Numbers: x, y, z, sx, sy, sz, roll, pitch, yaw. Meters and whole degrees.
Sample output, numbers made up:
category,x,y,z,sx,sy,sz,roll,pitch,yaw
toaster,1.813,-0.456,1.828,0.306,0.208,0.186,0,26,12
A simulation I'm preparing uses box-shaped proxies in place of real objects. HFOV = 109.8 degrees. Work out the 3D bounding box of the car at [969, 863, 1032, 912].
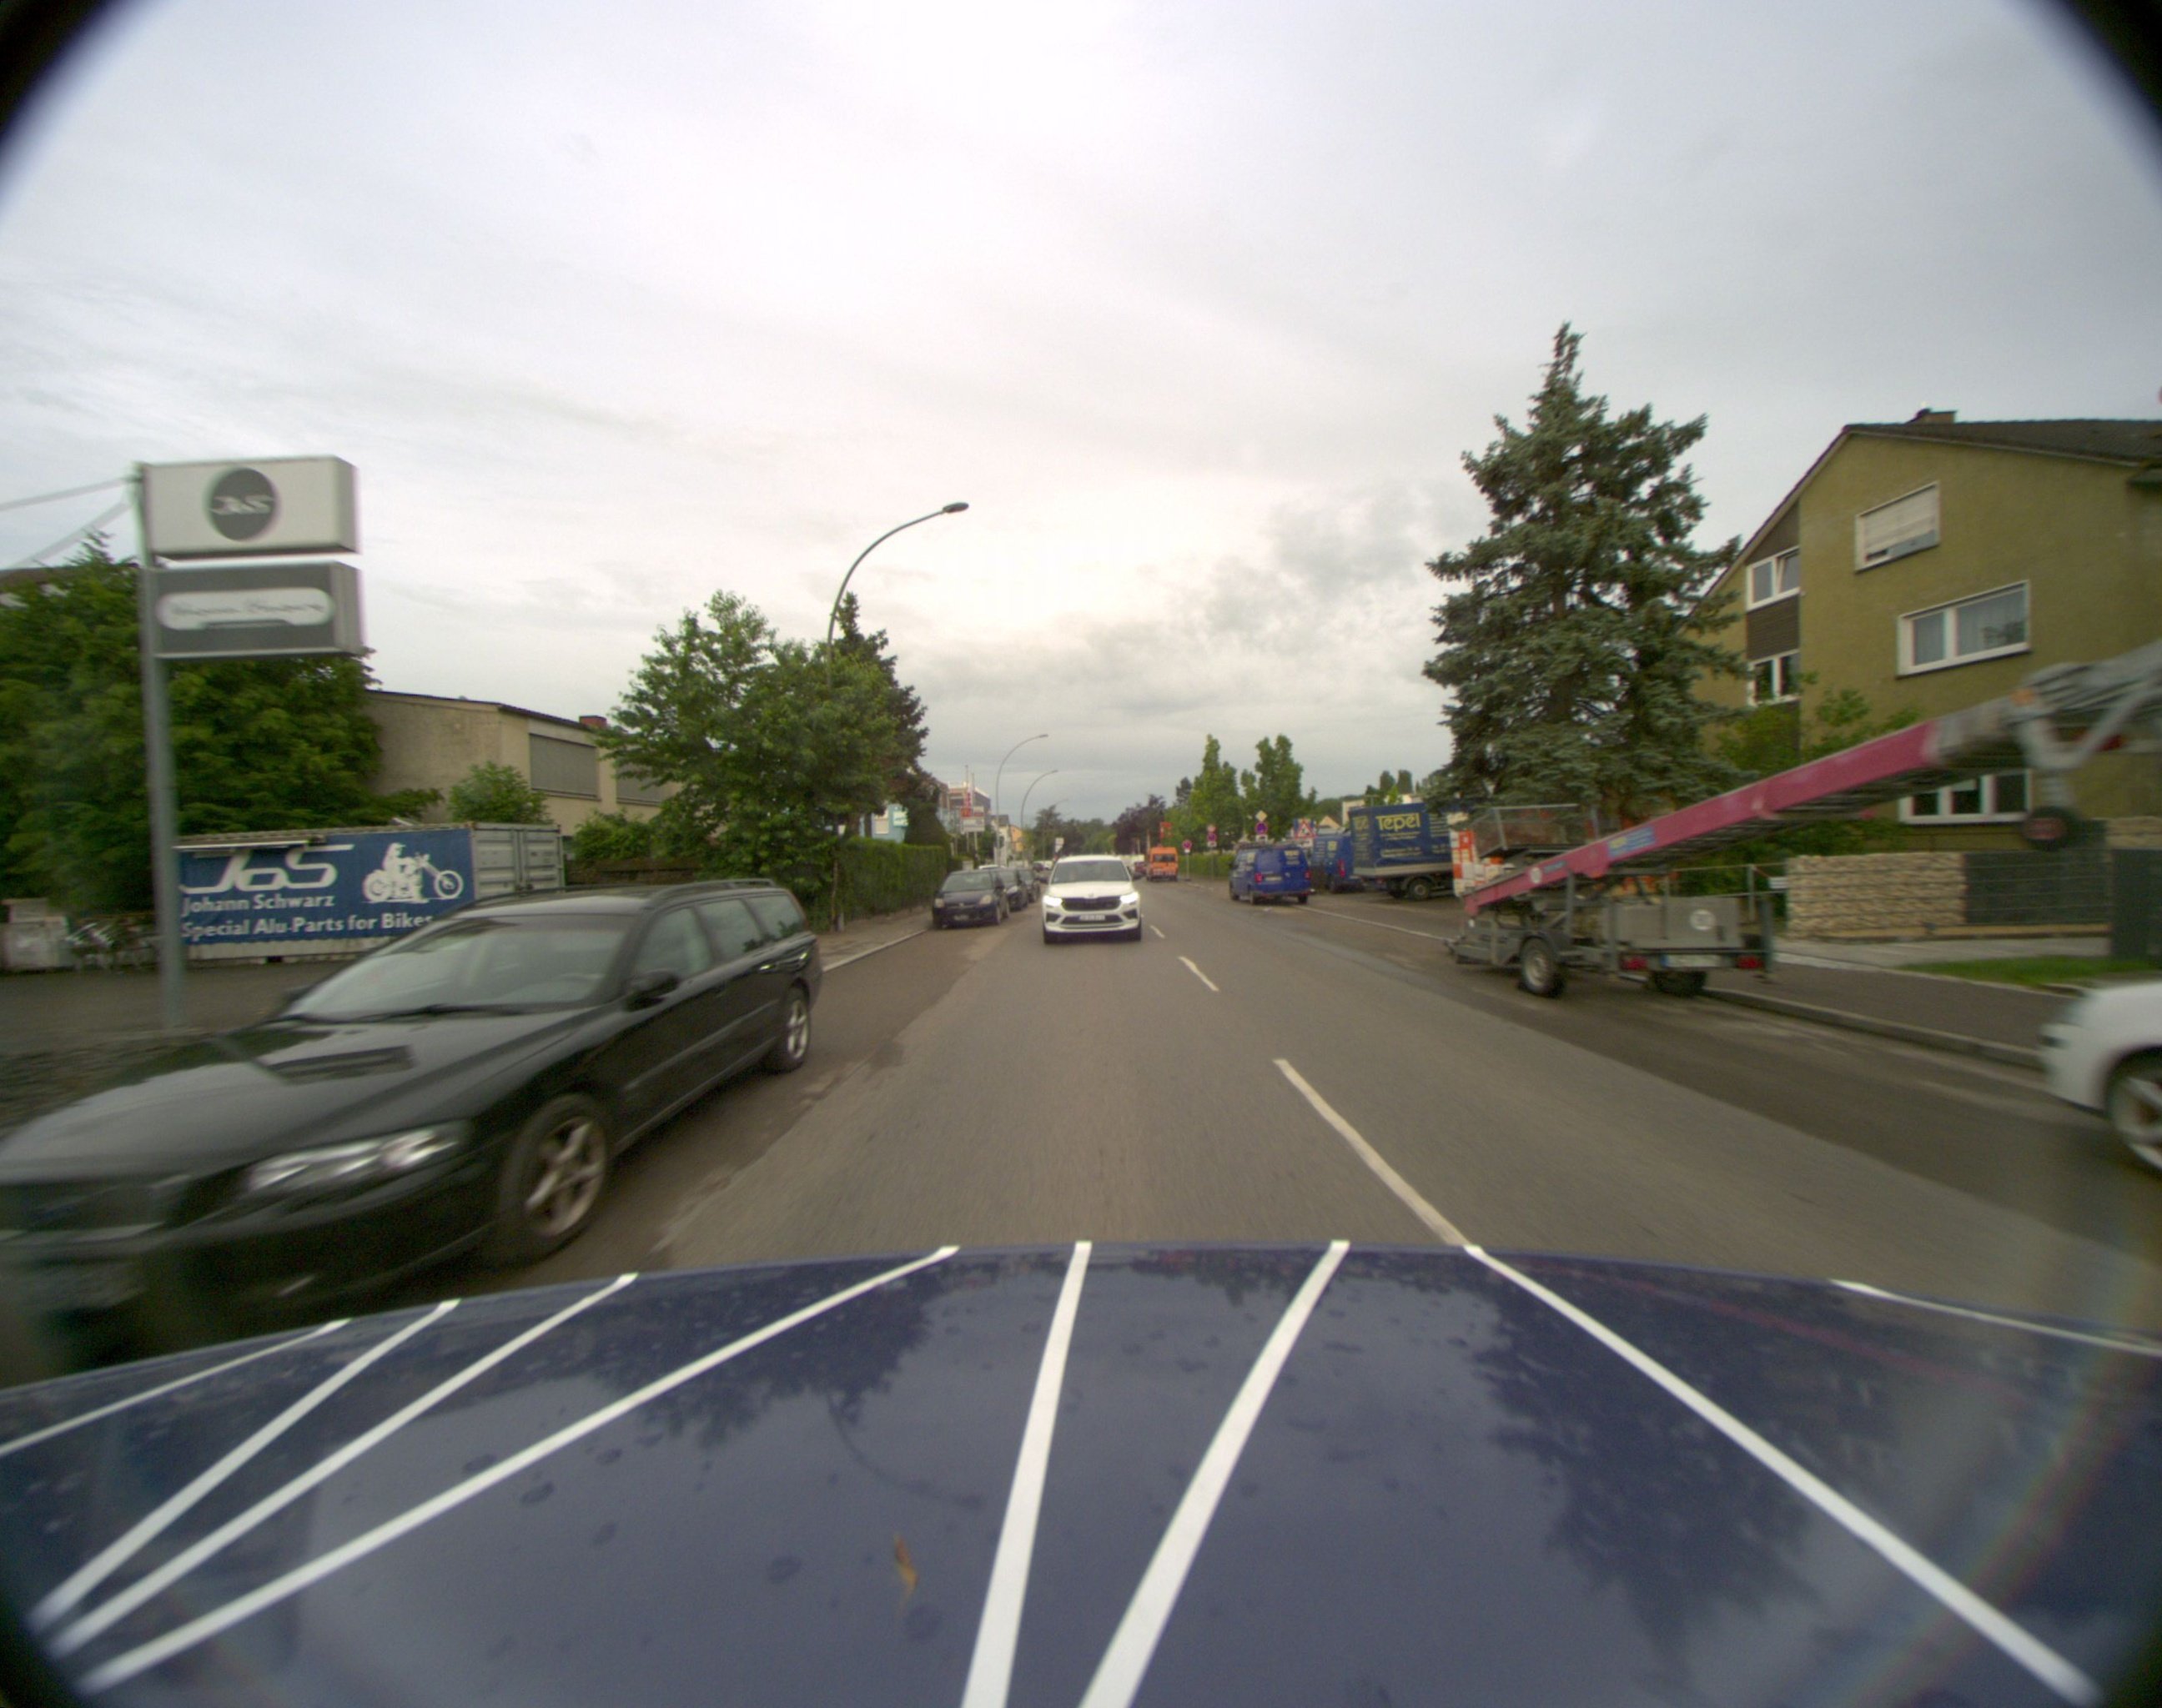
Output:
category,x,y,z,sx,sy,sz,roll,pitch,yaw
car,-2.700,1.100,26.147,1.677,1.455,3.551,-4,0,1

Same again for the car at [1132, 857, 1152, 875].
category,x,y,z,sx,sy,sz,roll,pitch,yaw
car,6.299,1.241,78.396,1.811,1.761,4.000,-1,0,2

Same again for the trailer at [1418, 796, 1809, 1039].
category,x,y,z,sx,sy,sz,roll,pitch,yaw
trailer,5.673,0.557,8.823,1.721,2.114,4.006,-2,1,1

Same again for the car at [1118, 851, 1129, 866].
category,x,y,z,sx,sy,sz,roll,pitch,yaw
car,6.979,0.725,124.805,1.659,2.221,3.744,-2,1,1

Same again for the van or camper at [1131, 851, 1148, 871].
category,x,y,z,sx,sy,sz,roll,pitch,yaw
van or camper,6.858,0.821,89.707,1.811,2.328,4.000,-1,0,2

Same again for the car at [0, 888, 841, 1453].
category,x,y,z,sx,sy,sz,roll,pitch,yaw
car,-3.010,1.036,4.460,1.766,1.431,4.483,-1,0,0

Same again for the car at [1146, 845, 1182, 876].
category,x,y,z,sx,sy,sz,roll,pitch,yaw
car,6.308,0.503,58.448,2.264,2.275,4.531,1,0,0

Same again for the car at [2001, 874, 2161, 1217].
category,x,y,z,sx,sy,sz,roll,pitch,yaw
car,5.639,0.847,2.016,1.740,1.496,3.871,-1,0,1

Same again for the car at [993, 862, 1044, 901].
category,x,y,z,sx,sy,sz,roll,pitch,yaw
car,-2.537,1.113,31.518,1.677,1.387,3.551,-4,0,1

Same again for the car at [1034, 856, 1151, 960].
category,x,y,z,sx,sy,sz,roll,pitch,yaw
car,0.223,0.892,14.855,1.884,1.650,4.831,-1,0,1

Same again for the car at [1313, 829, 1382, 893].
category,x,y,z,sx,sy,sz,roll,pitch,yaw
car,10.616,0.270,30.501,1.569,2.392,3.595,-1,0,2

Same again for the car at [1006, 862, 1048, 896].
category,x,y,z,sx,sy,sz,roll,pitch,yaw
car,-2.590,1.192,37.146,1.677,1.455,3.551,-4,0,1

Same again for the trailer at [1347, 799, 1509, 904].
category,x,y,z,sx,sy,sz,roll,pitch,yaw
trailer,10.909,-0.083,24.135,4.059,3.029,2.168,-2,1,1

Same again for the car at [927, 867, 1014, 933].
category,x,y,z,sx,sy,sz,roll,pitch,yaw
car,-2.867,1.148,20.460,1.677,1.455,3.690,-4,0,1

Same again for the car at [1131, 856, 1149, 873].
category,x,y,z,sx,sy,sz,roll,pitch,yaw
car,6.511,1.172,83.833,1.811,1.761,4.000,-1,0,2

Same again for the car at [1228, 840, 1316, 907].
category,x,y,z,sx,sy,sz,roll,pitch,yaw
car,6.609,0.617,26.850,1.998,2.112,4.755,-1,0,2
